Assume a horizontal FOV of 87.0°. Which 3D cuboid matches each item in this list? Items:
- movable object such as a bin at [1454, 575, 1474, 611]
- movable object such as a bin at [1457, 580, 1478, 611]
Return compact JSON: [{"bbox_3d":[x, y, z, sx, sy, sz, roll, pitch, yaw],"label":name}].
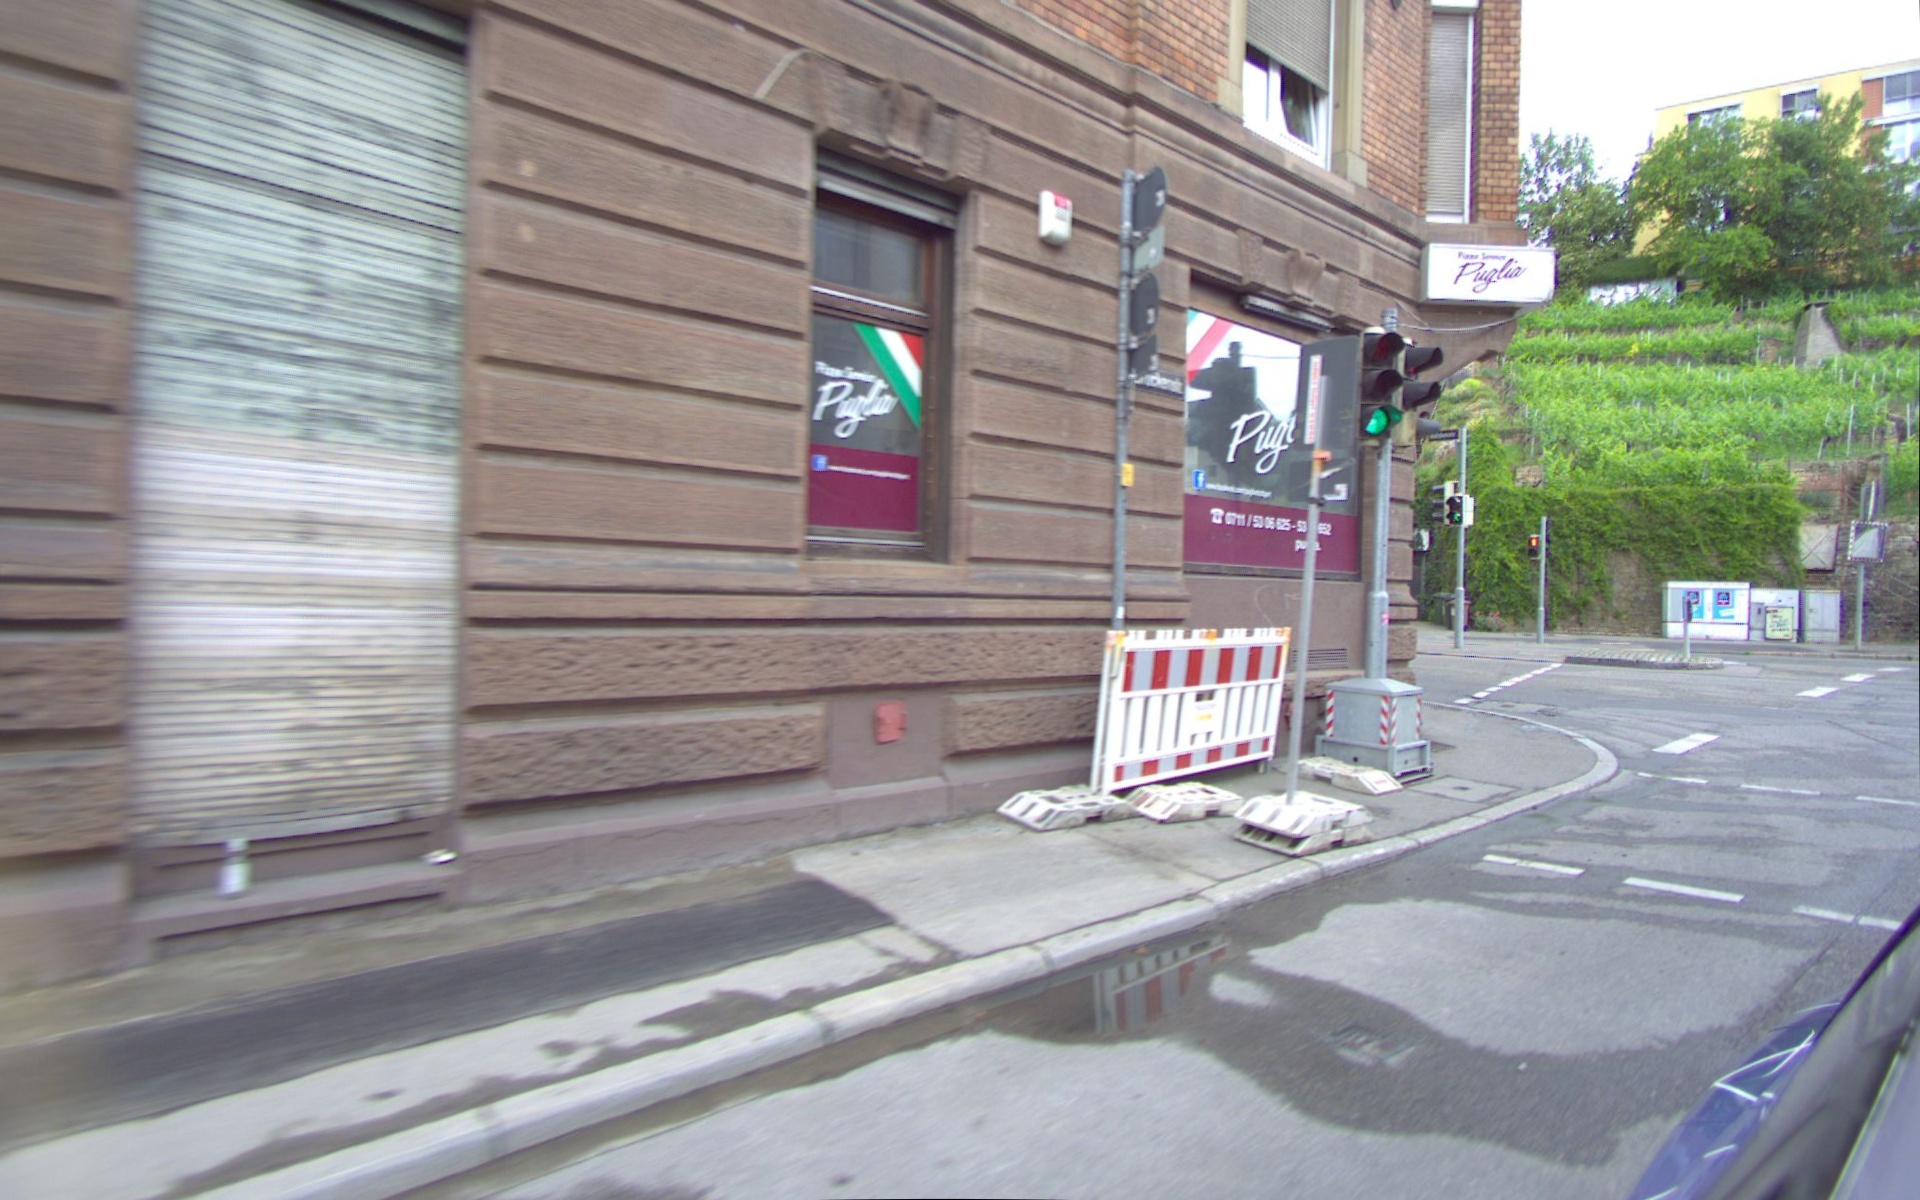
[{"bbox_3d":[15.377,-0.222,30.877,0.466,1.096,0.406,-1,0,16],"label":"movable object such as a bin"},{"bbox_3d":[15.248,-0.126,30.424,0.488,0.923,0.343,-1,0,16],"label":"movable object such as a bin"}]
